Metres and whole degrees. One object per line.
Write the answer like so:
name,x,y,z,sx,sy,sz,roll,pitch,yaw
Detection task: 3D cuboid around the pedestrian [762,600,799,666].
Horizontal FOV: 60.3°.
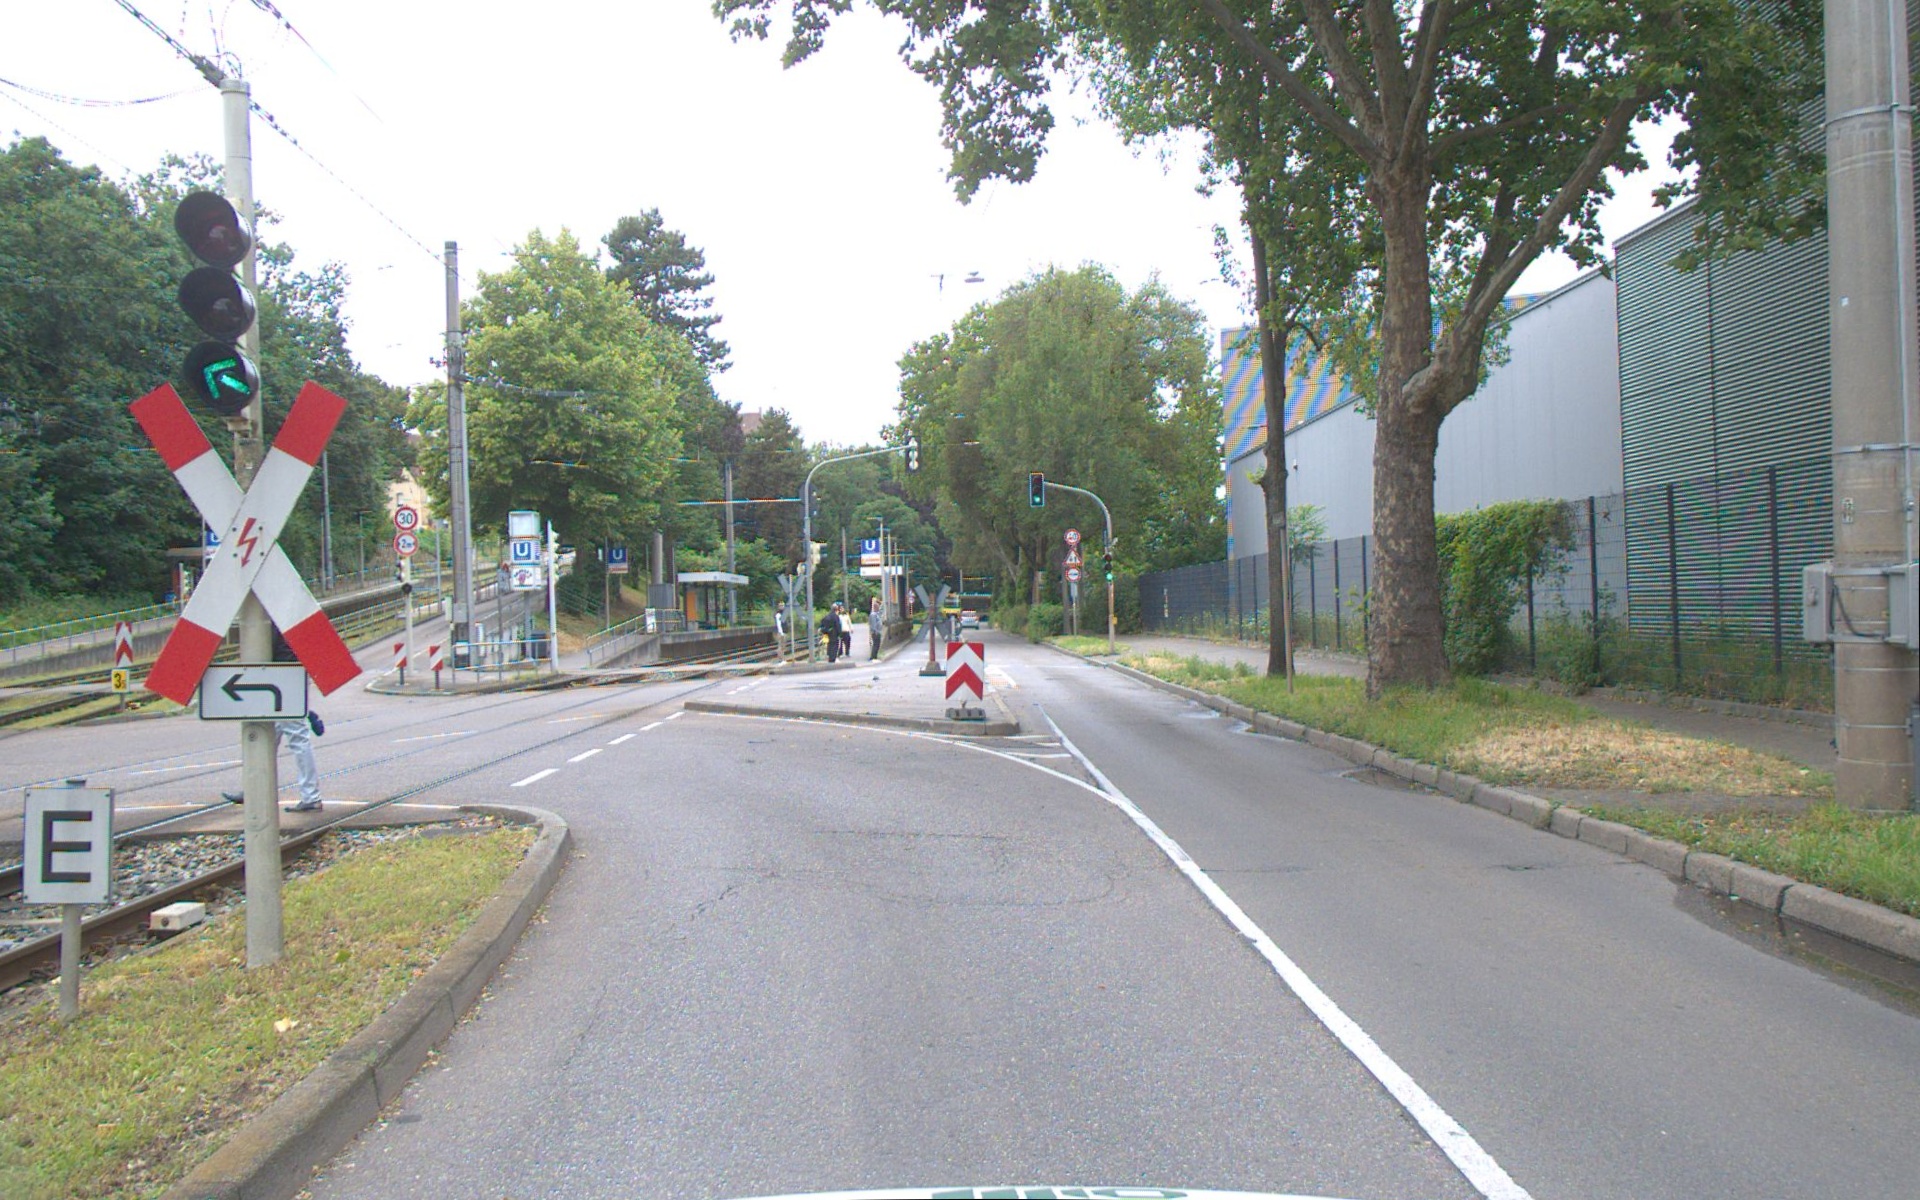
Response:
pedestrian,-5.082,0.936,46.812,0.798,1.853,0.660,2,-1,-43

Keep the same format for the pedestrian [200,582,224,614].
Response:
pedestrian,-33.407,-0.092,73.865,0.757,1.349,0.786,1,2,-9

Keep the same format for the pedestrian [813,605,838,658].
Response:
pedestrian,-4.313,1.003,53.109,0.722,1.694,0.680,1,-1,-11

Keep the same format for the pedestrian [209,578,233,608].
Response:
pedestrian,-33.472,-0.318,74.933,0.757,1.349,0.785,1,-1,-9

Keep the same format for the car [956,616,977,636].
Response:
car,0.549,2.269,144.449,1.708,1.627,3.999,2,-1,-1

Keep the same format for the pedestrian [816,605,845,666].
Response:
pedestrian,-3.633,0.986,46.330,0.720,1.694,0.682,1,-1,1

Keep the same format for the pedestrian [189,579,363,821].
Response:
pedestrian,-5.255,0.747,12.770,1.098,1.791,0.810,1,-1,-14

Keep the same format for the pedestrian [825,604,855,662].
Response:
pedestrian,-3.573,0.971,49.199,0.665,1.694,0.738,1,-1,14

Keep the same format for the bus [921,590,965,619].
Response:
bus,-2.169,0.634,217.187,2.678,3.690,8.942,1,-1,21

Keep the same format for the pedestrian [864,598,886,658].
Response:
pedestrian,-2.582,0.843,50.196,0.538,1.789,0.738,1,-1,4

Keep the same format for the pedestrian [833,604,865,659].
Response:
pedestrian,-3.491,0.995,51.822,0.730,1.694,0.672,2,-1,-40
